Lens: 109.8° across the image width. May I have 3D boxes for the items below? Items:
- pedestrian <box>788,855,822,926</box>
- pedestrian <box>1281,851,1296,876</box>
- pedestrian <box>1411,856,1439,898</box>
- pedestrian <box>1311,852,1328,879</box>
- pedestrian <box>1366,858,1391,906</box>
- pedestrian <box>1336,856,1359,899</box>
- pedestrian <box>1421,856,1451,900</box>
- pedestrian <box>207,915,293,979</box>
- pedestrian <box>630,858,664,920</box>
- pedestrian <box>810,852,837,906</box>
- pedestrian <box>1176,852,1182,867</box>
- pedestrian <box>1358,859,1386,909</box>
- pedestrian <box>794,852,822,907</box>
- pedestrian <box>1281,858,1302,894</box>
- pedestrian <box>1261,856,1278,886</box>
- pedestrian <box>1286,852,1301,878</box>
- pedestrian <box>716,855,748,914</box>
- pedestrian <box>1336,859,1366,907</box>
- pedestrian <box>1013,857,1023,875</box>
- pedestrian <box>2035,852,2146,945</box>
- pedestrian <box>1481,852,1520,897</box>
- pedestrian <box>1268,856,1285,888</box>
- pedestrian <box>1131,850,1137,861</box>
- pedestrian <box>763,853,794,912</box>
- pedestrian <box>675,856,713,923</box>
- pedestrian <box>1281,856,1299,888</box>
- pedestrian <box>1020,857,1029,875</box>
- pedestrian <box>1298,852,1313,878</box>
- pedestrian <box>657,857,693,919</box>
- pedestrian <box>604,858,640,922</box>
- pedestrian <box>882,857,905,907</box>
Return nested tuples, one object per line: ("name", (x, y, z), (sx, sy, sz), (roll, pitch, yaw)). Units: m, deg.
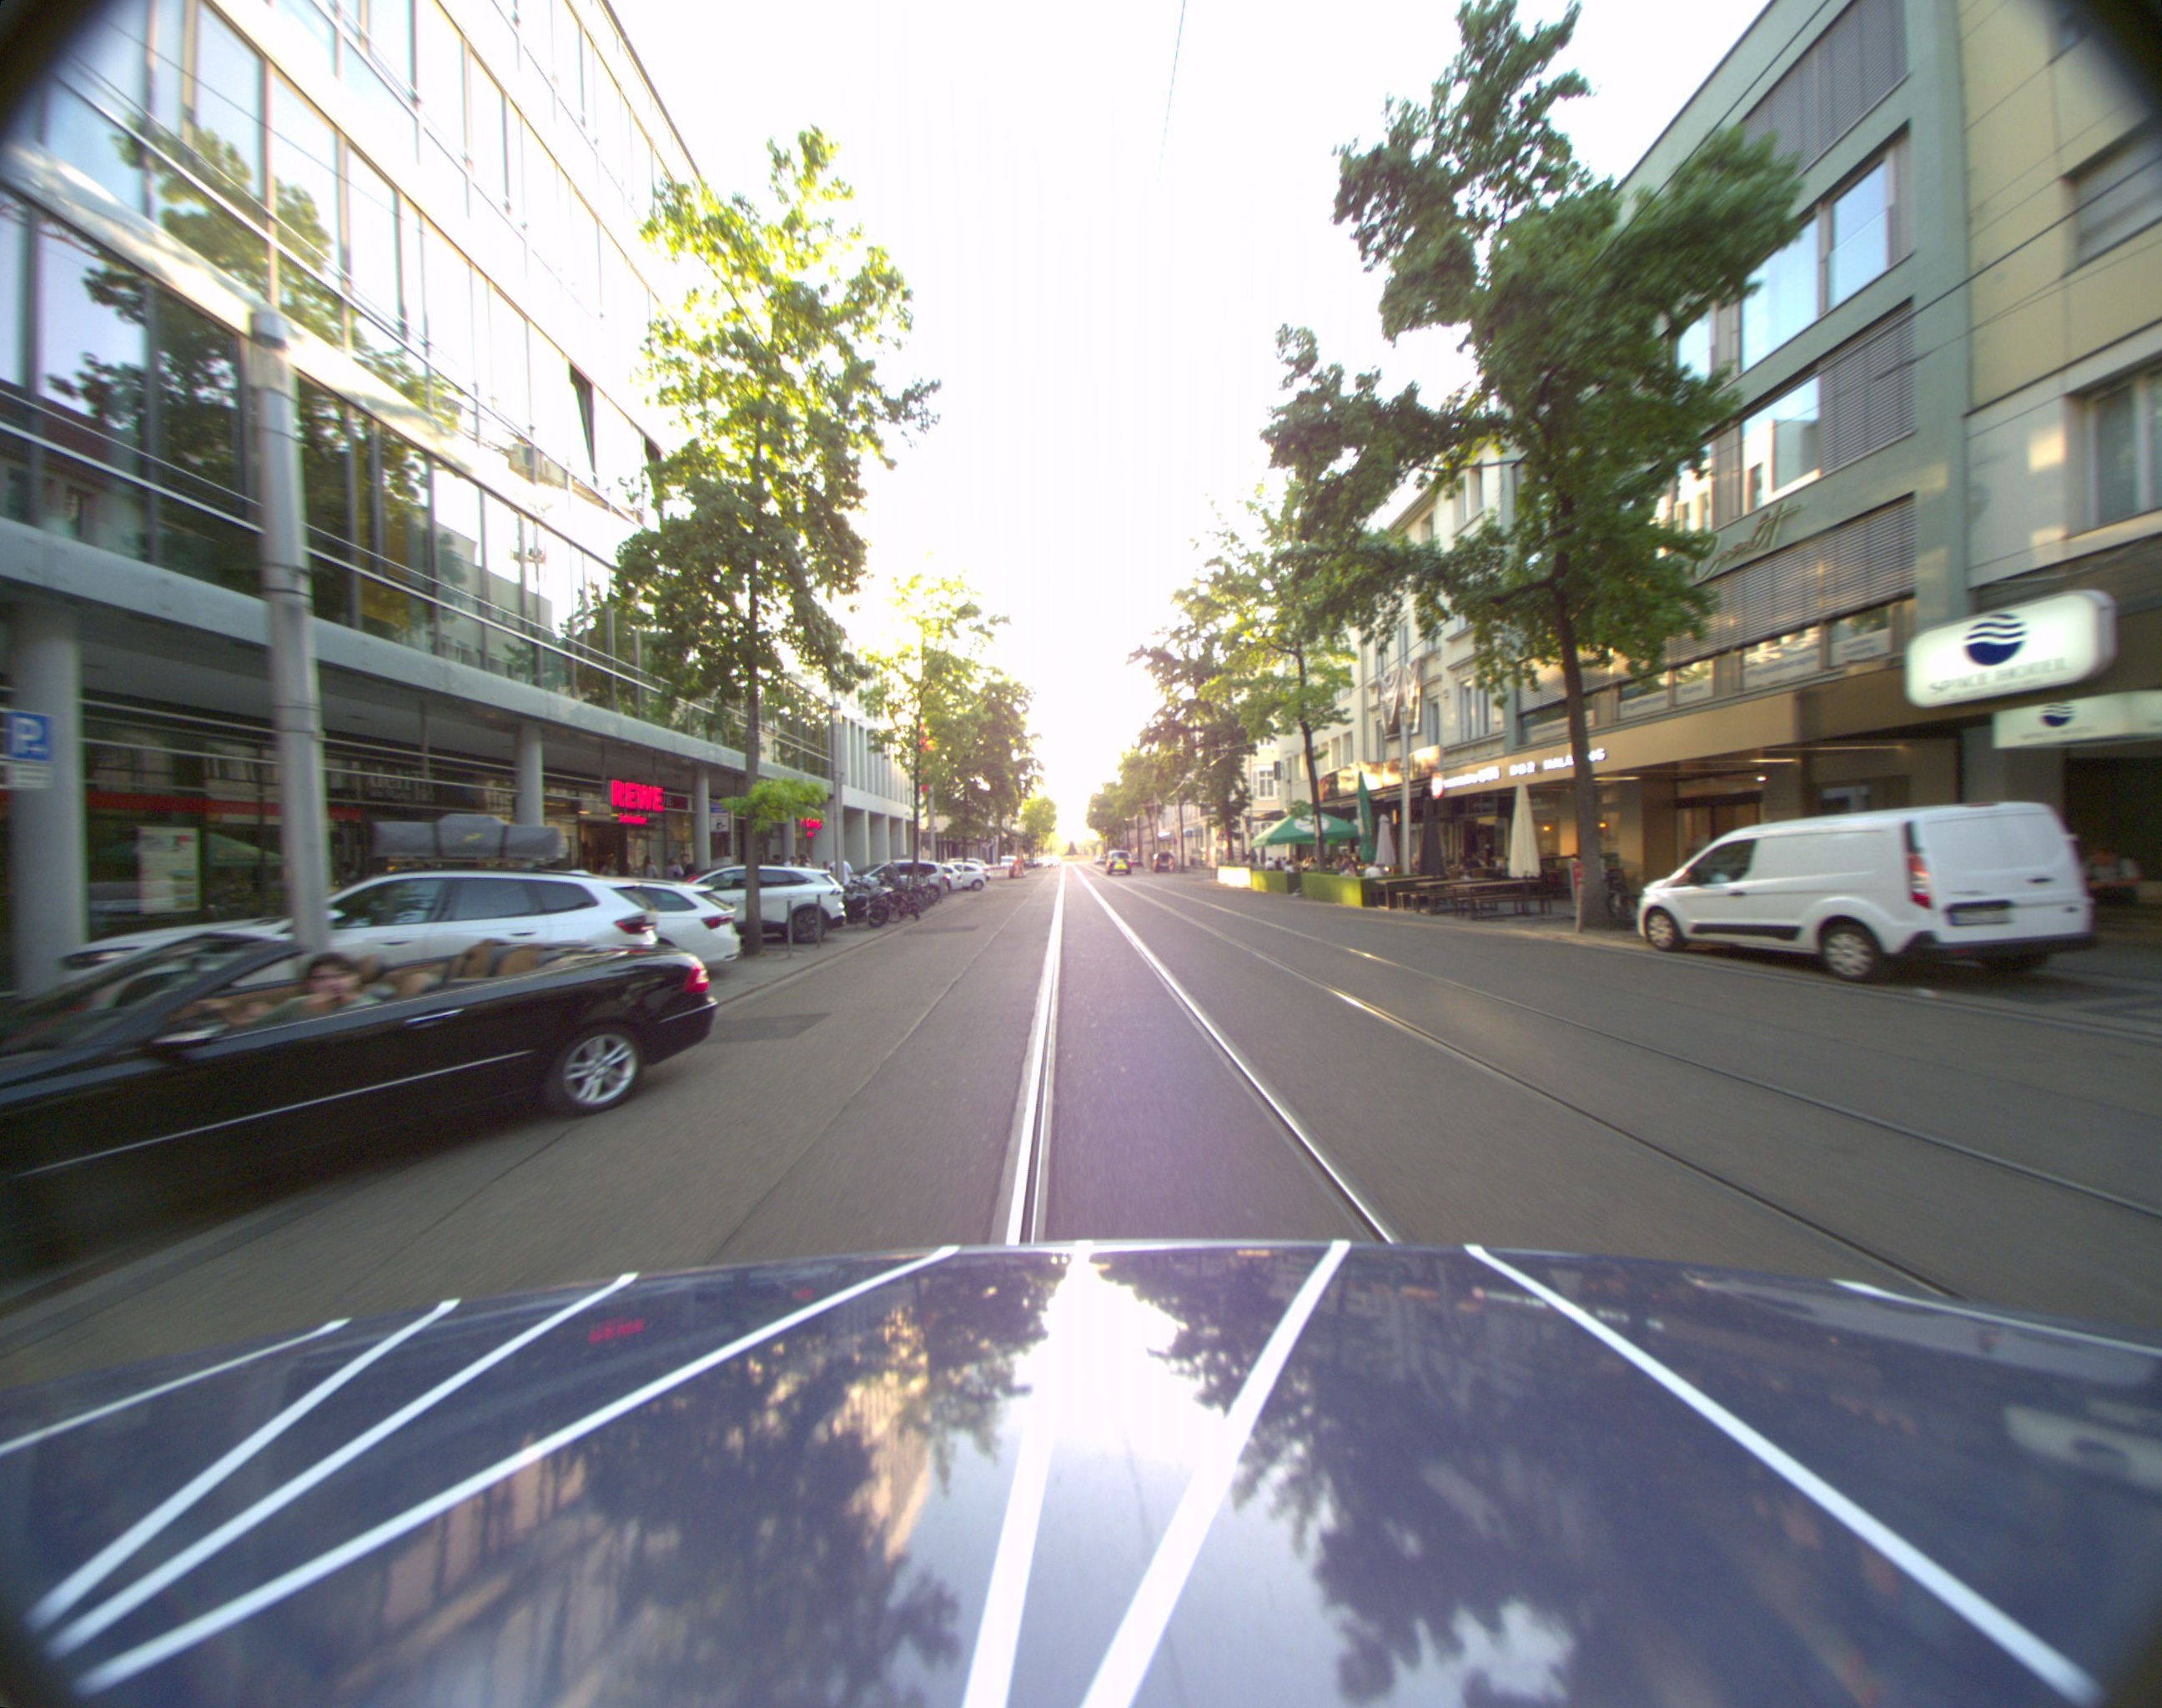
("pedestrian", (-7.110, 0.939, 19.613), (0.618, 1.789, 0.628), (0, 1, 0))
("pedestrian", (12.174, 0.552, 44.639), (0.650, 1.451, 0.650), (-1, 1, -2))
("pedestrian", (12.020, 0.787, 26.538), (0.650, 1.451, 0.650), (-1, 1, -2))
("pedestrian", (12.796, 0.623, 40.756), (0.650, 1.451, 0.650), (-1, 1, -2))
("pedestrian", (9.100, 0.852, 23.249), (0.649, 1.451, 0.651), (-1, 1, 16))
("pedestrian", (9.240, 0.813, 26.369), (0.649, 1.451, 0.651), (-1, 1, 12))
("pedestrian", (11.939, 0.800, 25.581), (0.650, 1.451, 0.649), (-1, 1, -9))
("pedestrian", (-12.325, 1.366, 11.280), (0.627, 0.876, 0.558), (0, 1, -1))
("pedestrian", (-11.994, 0.949, 21.026), (0.558, 1.681, 0.628), (0, 1, 0))
("pedestrian", (-8.099, 0.781, 23.903), (0.618, 1.681, 0.628), (0, 1, 0))
("pedestrian", (9.496, 0.570, 73.811), (0.490, 1.451, 0.543), (-1, 1, -2))
("pedestrian", (8.602, 0.878, 22.458), (0.648, 1.451, 0.651), (-1, 1, 29))
("pedestrian", (-8.563, 0.798, 23.868), (0.618, 1.681, 0.628), (0, 1, 0))
("pedestrian", (8.227, 0.850, 29.688), (0.649, 1.378, 0.650), (-1, 1, 6))
("pedestrian", (8.628, 0.780, 34.825), (0.649, 1.378, 0.650), (-1, 1, 6))
("pedestrian", (11.949, 0.631, 42.779), (0.650, 1.451, 0.650), (-1, 1, -2))
("pedestrian", (-10.090, 0.873, 21.972), (0.618, 1.681, 0.628), (0, 1, 0))
("pedestrian", (8.303, 0.878, 23.395), (0.649, 1.451, 0.650), (-1, 1, 0))
("pedestrian", (-5.046, 0.933, 60.584), (0.650, 1.451, 0.649), (-1, 1, -17))
("pedestrian", (13.434, 0.571, 10.127), (0.650, 1.168, 0.650), (-2, 1, -6))
("pedestrian", (12.704, 0.605, 23.012), (0.701, 1.308, 0.786), (-1, 1, -5))
("pedestrian", (8.641, 0.793, 33.584), (0.649, 1.378, 0.650), (-1, 1, 6))
("pedestrian", (7.043, 0.165, 101.473), (0.650, 1.451, 0.650), (-1, 1, -2))
("pedestrian", (-8.858, 0.826, 22.264), (0.618, 1.681, 0.628), (0, 1, 0))
("pedestrian", (-9.899, 0.893, 19.429), (0.618, 1.681, 0.628), (0, 1, 0))
("pedestrian", (9.234, 0.772, 33.562), (0.649, 1.378, 0.650), (-1, 1, 6))
("pedestrian", (-4.694, 0.987, 63.210), (0.650, 1.451, 0.649), (-1, 1, -17))
("pedestrian", (12.652, 0.606, 42.846), (0.650, 1.451, 0.650), (-1, 1, -2))
("pedestrian", (-11.225, 0.922, 21.030), (0.618, 1.681, 0.628), (0, 1, 0))
("pedestrian", (-12.390, 0.969, 20.509), (0.558, 1.681, 0.628), (0, 1, 0))
("pedestrian", (-6.426, 0.947, 26.034), (0.618, 1.681, 0.627), (-1, 1, -5))
